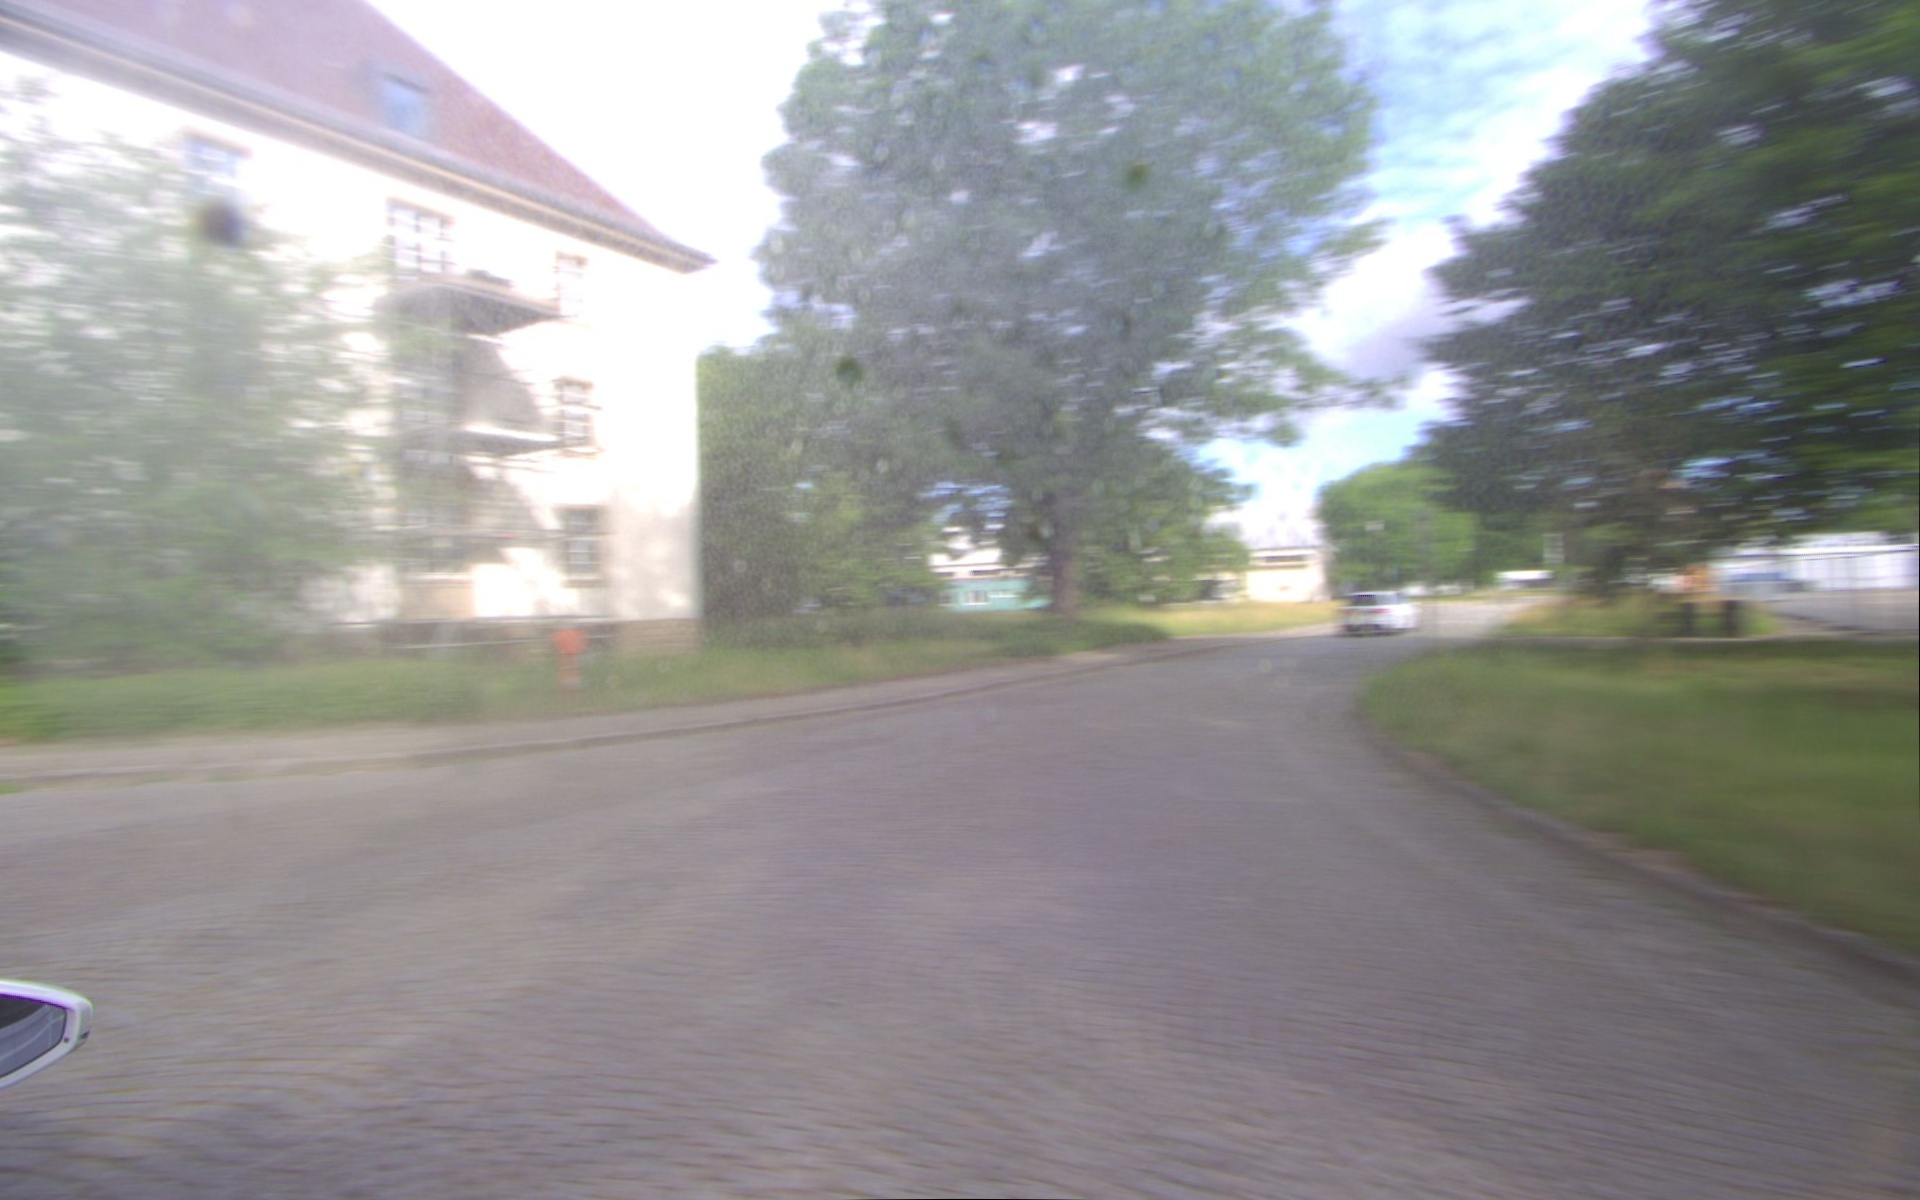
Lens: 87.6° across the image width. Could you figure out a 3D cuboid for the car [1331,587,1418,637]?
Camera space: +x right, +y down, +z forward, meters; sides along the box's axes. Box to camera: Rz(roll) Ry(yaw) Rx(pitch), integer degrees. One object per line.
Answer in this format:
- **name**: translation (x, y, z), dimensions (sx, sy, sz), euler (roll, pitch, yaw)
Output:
- **car**: translation (13.680, 0.356, 32.876), dimensions (1.829, 1.456, 4.679), euler (-2, 0, 33)
